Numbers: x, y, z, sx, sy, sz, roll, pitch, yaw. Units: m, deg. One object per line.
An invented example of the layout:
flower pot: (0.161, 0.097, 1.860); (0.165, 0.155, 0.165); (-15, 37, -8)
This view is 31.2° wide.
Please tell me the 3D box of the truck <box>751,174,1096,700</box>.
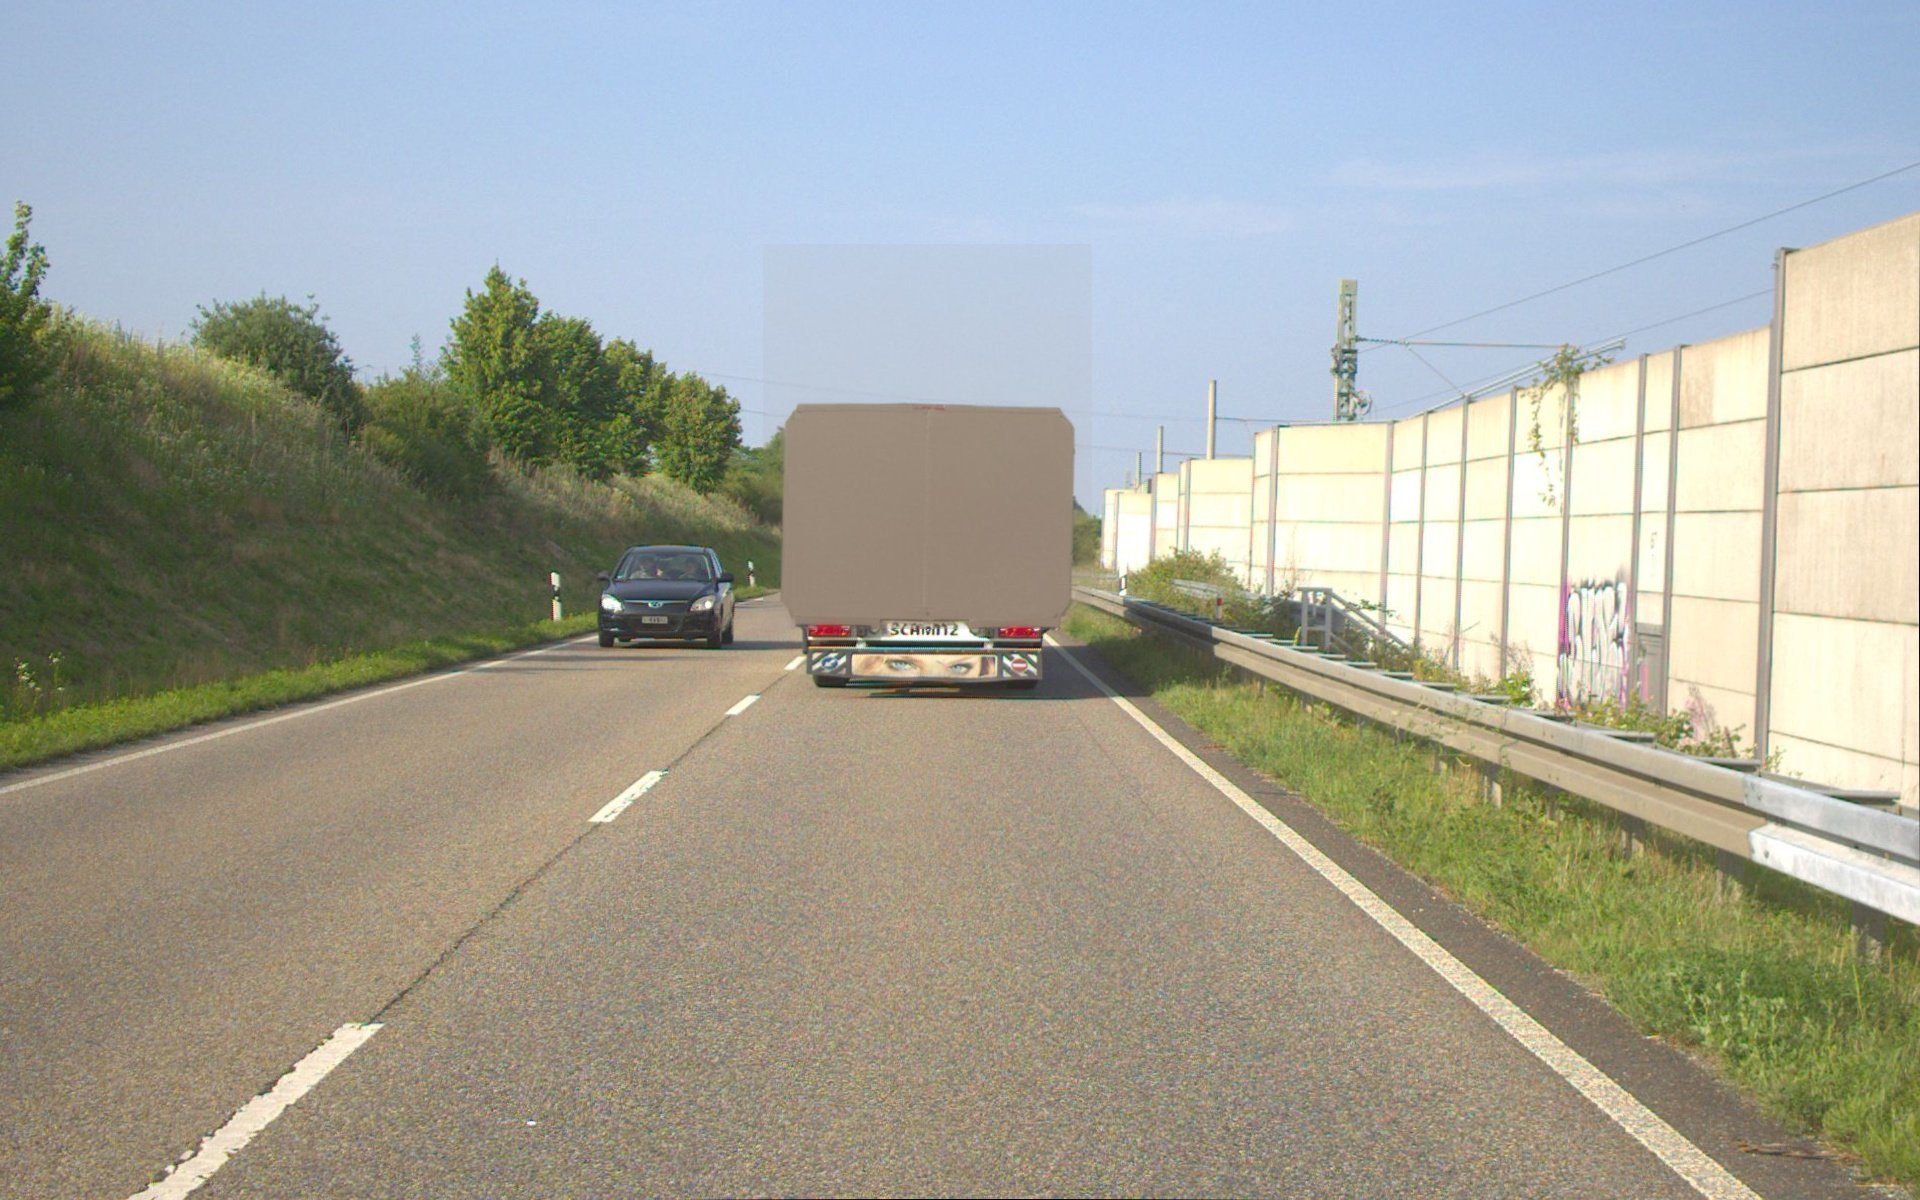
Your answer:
truck: (-0.365, -1.688, 39.490); (3.290, 5.072, 12.038); (1, 1, 0)

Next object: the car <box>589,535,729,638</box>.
car: (-4.367, -0.224, 50.352); (1.716, 1.448, 4.019); (0, 1, 0)
